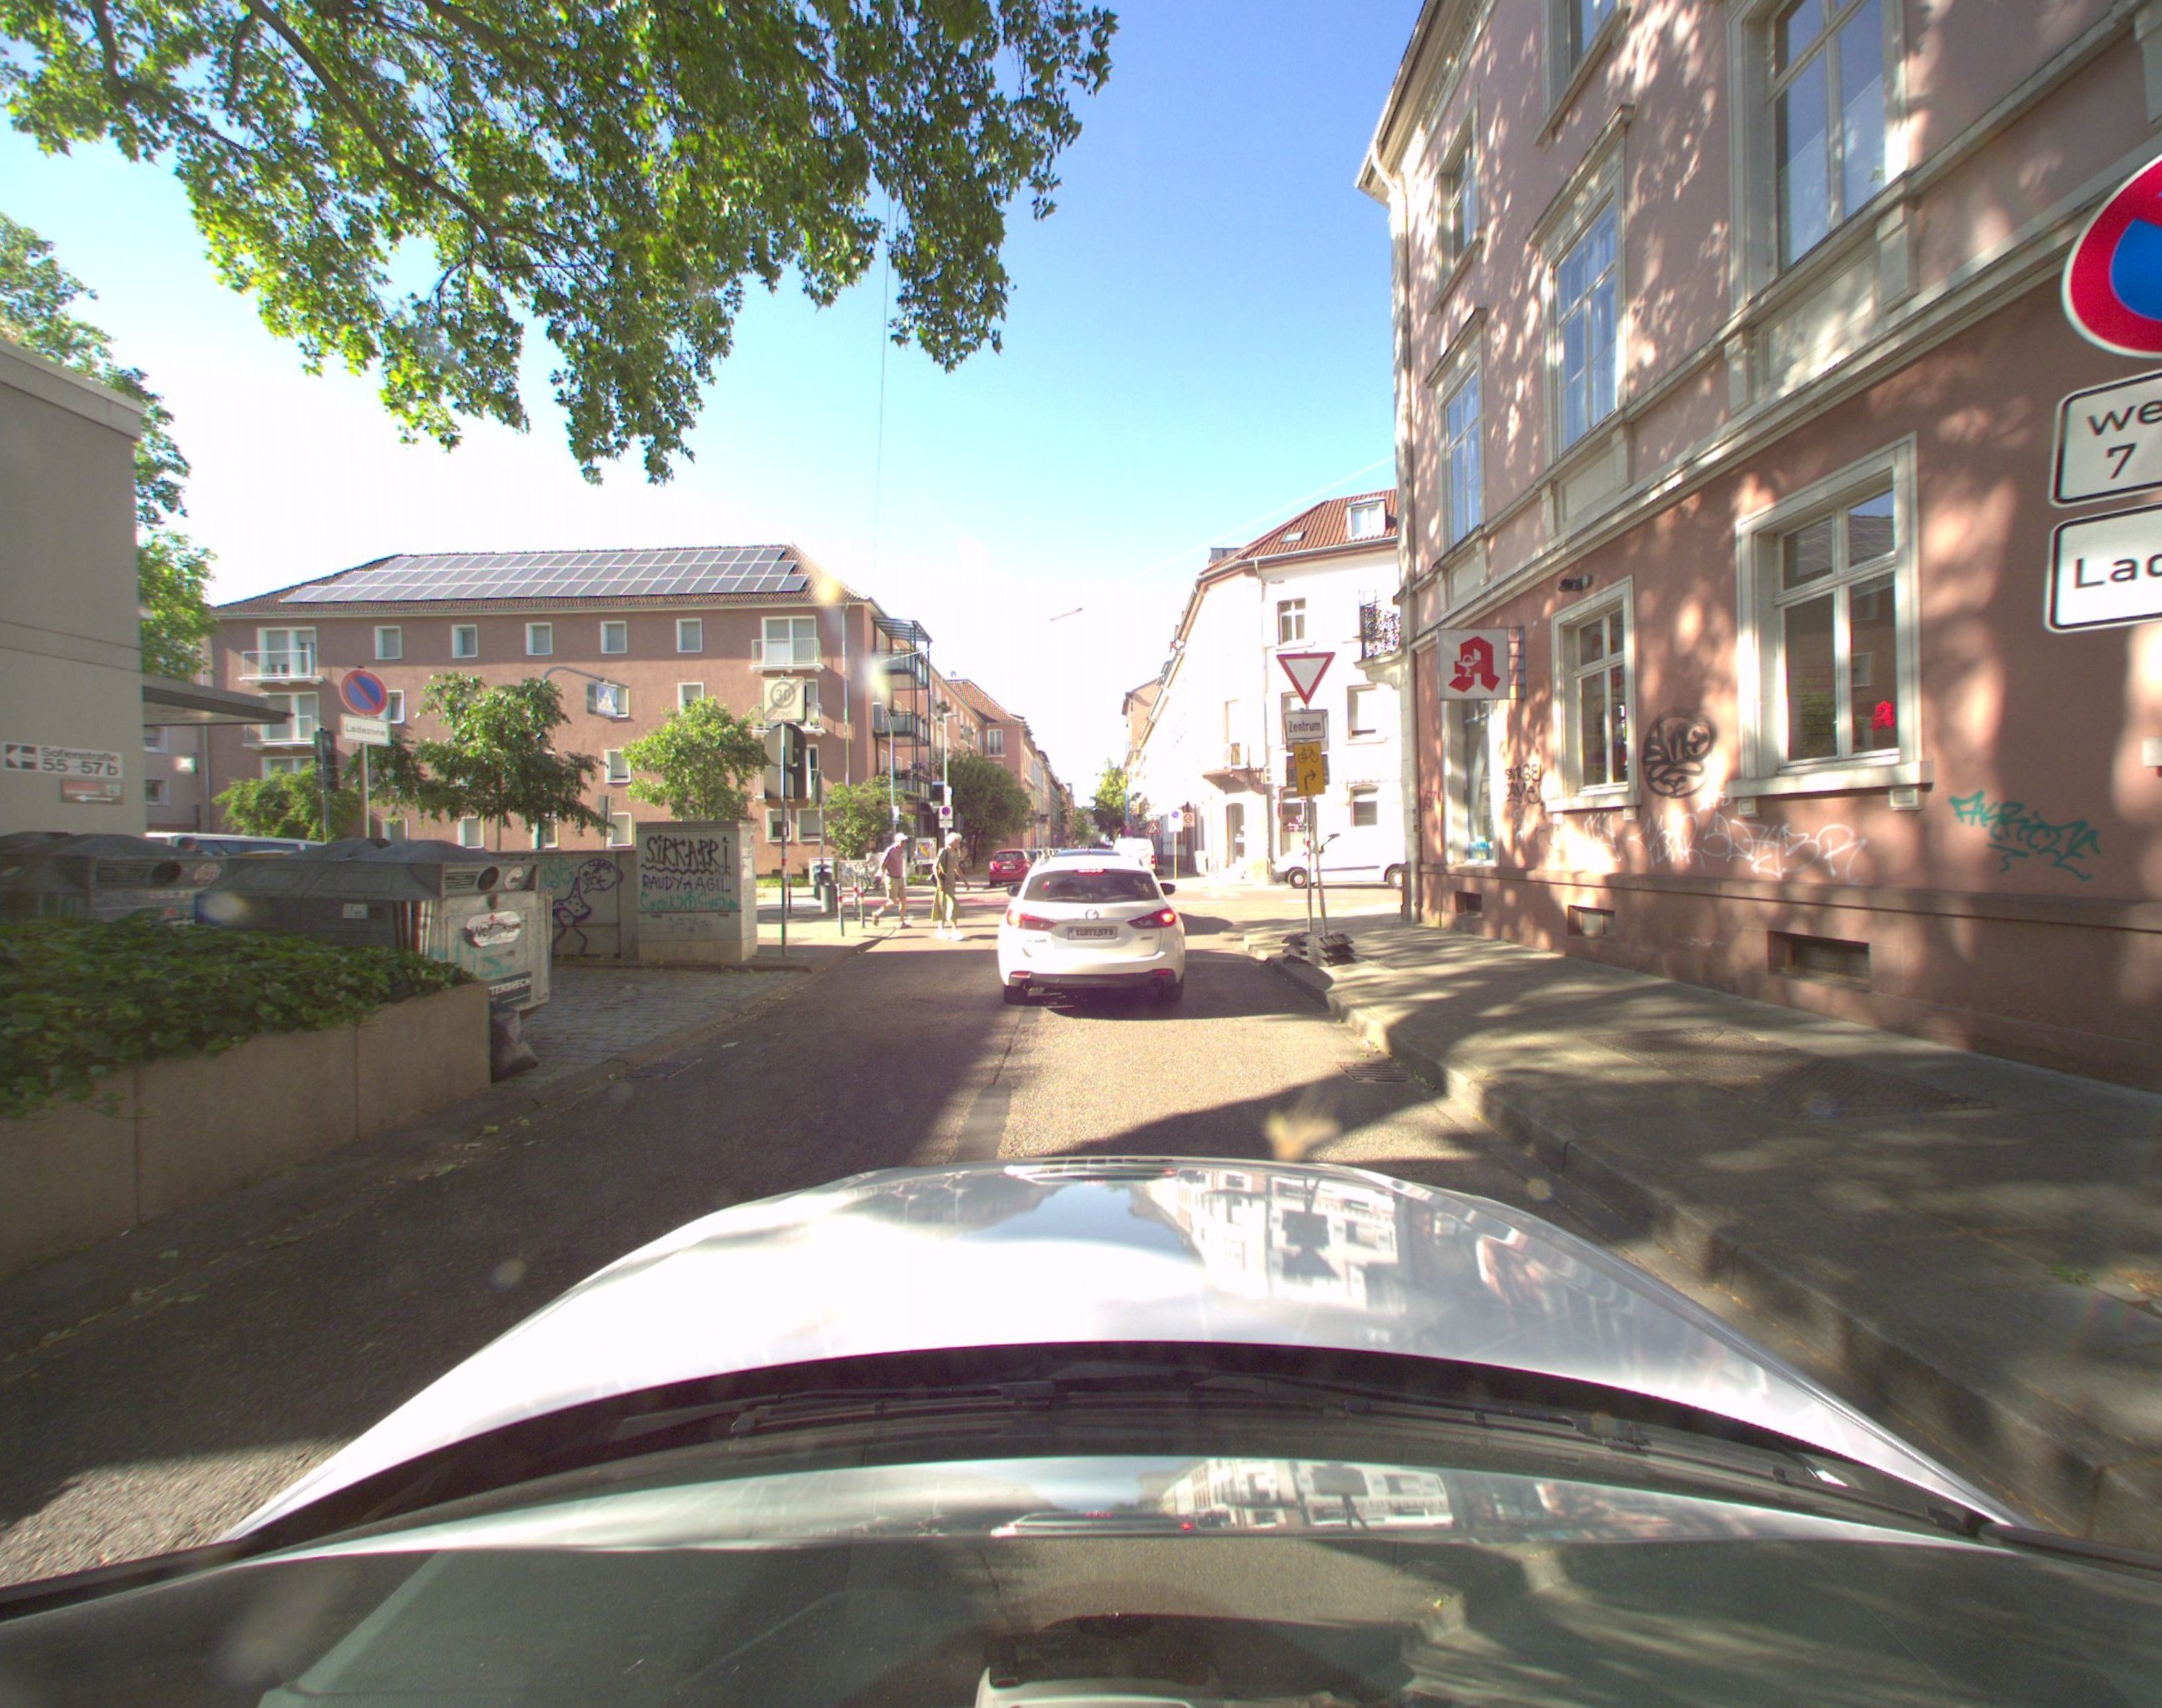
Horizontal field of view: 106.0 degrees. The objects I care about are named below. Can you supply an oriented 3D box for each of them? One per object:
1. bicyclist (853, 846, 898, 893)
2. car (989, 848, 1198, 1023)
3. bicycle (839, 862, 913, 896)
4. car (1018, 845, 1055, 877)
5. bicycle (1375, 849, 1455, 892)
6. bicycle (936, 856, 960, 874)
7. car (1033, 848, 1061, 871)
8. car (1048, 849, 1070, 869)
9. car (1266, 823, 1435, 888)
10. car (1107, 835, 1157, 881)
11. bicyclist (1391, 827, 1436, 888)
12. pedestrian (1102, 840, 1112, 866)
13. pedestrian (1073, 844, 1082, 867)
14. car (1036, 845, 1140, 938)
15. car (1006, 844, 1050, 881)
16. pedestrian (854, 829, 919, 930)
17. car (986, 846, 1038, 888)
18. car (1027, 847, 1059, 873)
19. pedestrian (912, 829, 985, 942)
[{"bbox_3d":[-6.965,0.520,27.597,1.185,1.516,0.845,-2,-1,21],"label":"bicyclist"},{"bbox_3d":[0.130,0.704,9.094,1.817,1.514,3.824,-1,0,0],"label":"car"},{"bbox_3d":[-6.950,0.862,27.604,2.404,1.080,0.794,-2,0,21],"label":"bicycle"},{"bbox_3d":[-2.426,0.395,45.121,1.629,1.656,3.786,-1,0,2],"label":"car"},{"bbox_3d":[9.289,0.469,22.688,1.990,1.144,0.687,-2,-1,22],"label":"bicycle"},{"bbox_3d":[-7.423,0.608,45.338,0.607,0.932,1.895,-1,0,-32],"label":"bicycle"},{"bbox_3d":[-2.289,0.395,55.920,1.596,1.477,3.569,-2,0,2],"label":"car"},{"bbox_3d":[-1.783,0.403,66.226,1.567,1.585,3.612,-2,0,2],"label":"car"},{"bbox_3d":[8.525,0.096,25.802,4.845,1.928,2.011,-1,-2,25],"label":"car"},{"bbox_3d":[2.279,0.161,37.182,1.937,1.948,4.076,-1,0,-1],"label":"car"},{"bbox_3d":[9.261,0.091,22.699,1.081,1.644,0.760,-2,-1,22],"label":"bicyclist"},{"bbox_3d":[2.146,-0.092,67.180,0.768,2.118,0.835,-2,-1,2],"label":"pedestrian"},{"bbox_3d":[-0.254,0.140,63.474,0.645,1.797,0.639,-2,-1,2],"label":"pedestrian"},{"bbox_3d":[0.135,0.612,15.241,1.676,1.481,3.661,-2,0,0],"label":"car"},{"bbox_3d":[-2.535,0.392,39.606,1.714,1.682,3.727,-2,0,2],"label":"car"},{"bbox_3d":[-3.631,0.456,15.261,0.960,1.838,0.684,0,2,10],"label":"pedestrian"},{"bbox_3d":[-2.835,0.487,34.009,1.764,1.588,3.726,-2,1,0],"label":"car"},{"bbox_3d":[-2.408,0.383,51.908,1.714,1.576,3.727,-2,0,2],"label":"car"},{"bbox_3d":[-2.219,0.495,13.692,0.845,1.814,0.820,0,2,28],"label":"pedestrian"}]
